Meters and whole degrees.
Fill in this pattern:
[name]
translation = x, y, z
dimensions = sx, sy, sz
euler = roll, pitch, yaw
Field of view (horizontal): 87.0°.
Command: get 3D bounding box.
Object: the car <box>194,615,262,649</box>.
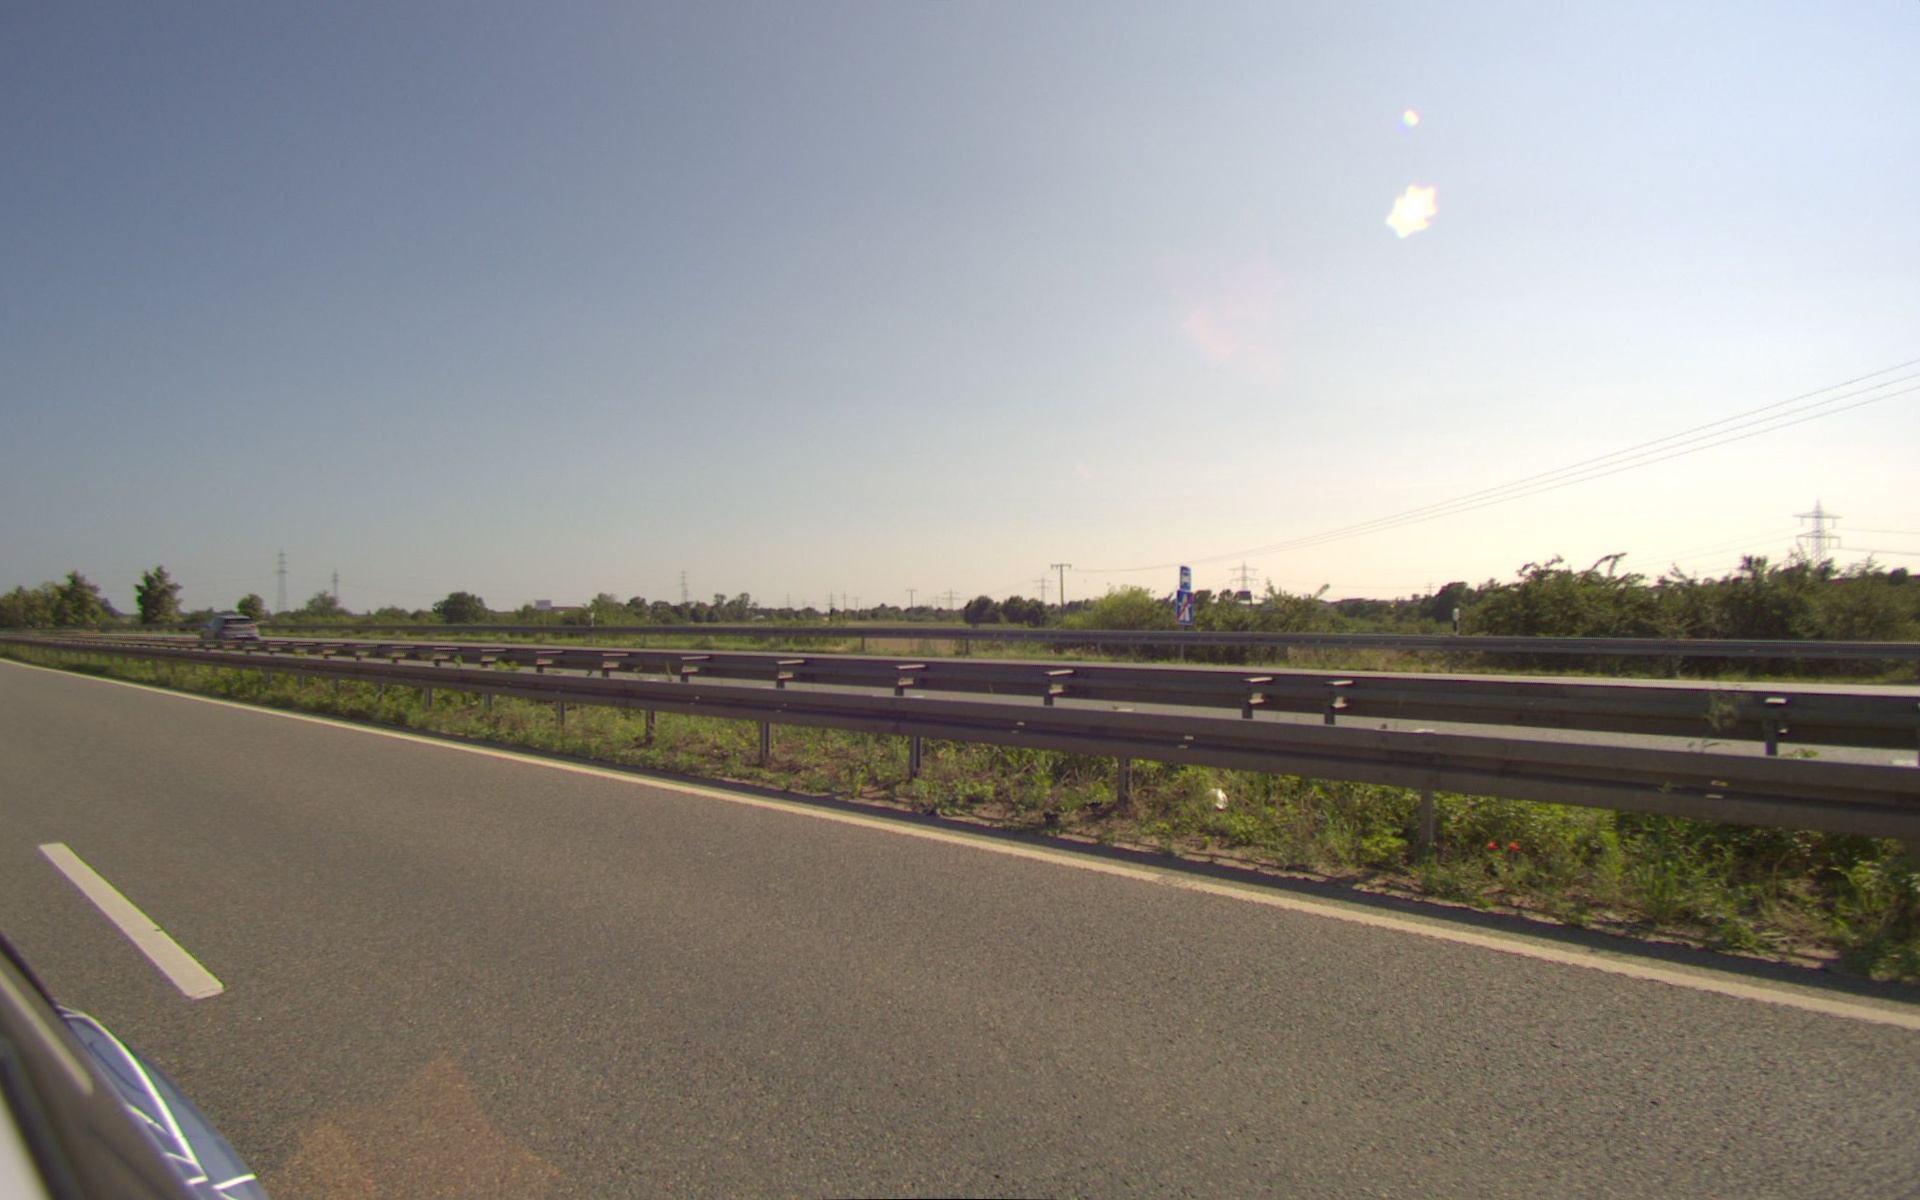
[car]
translation = -37.112, 1.611, 51.273
dimensions = 4.617, 1.496, 1.683
euler = -2, 2, 40
